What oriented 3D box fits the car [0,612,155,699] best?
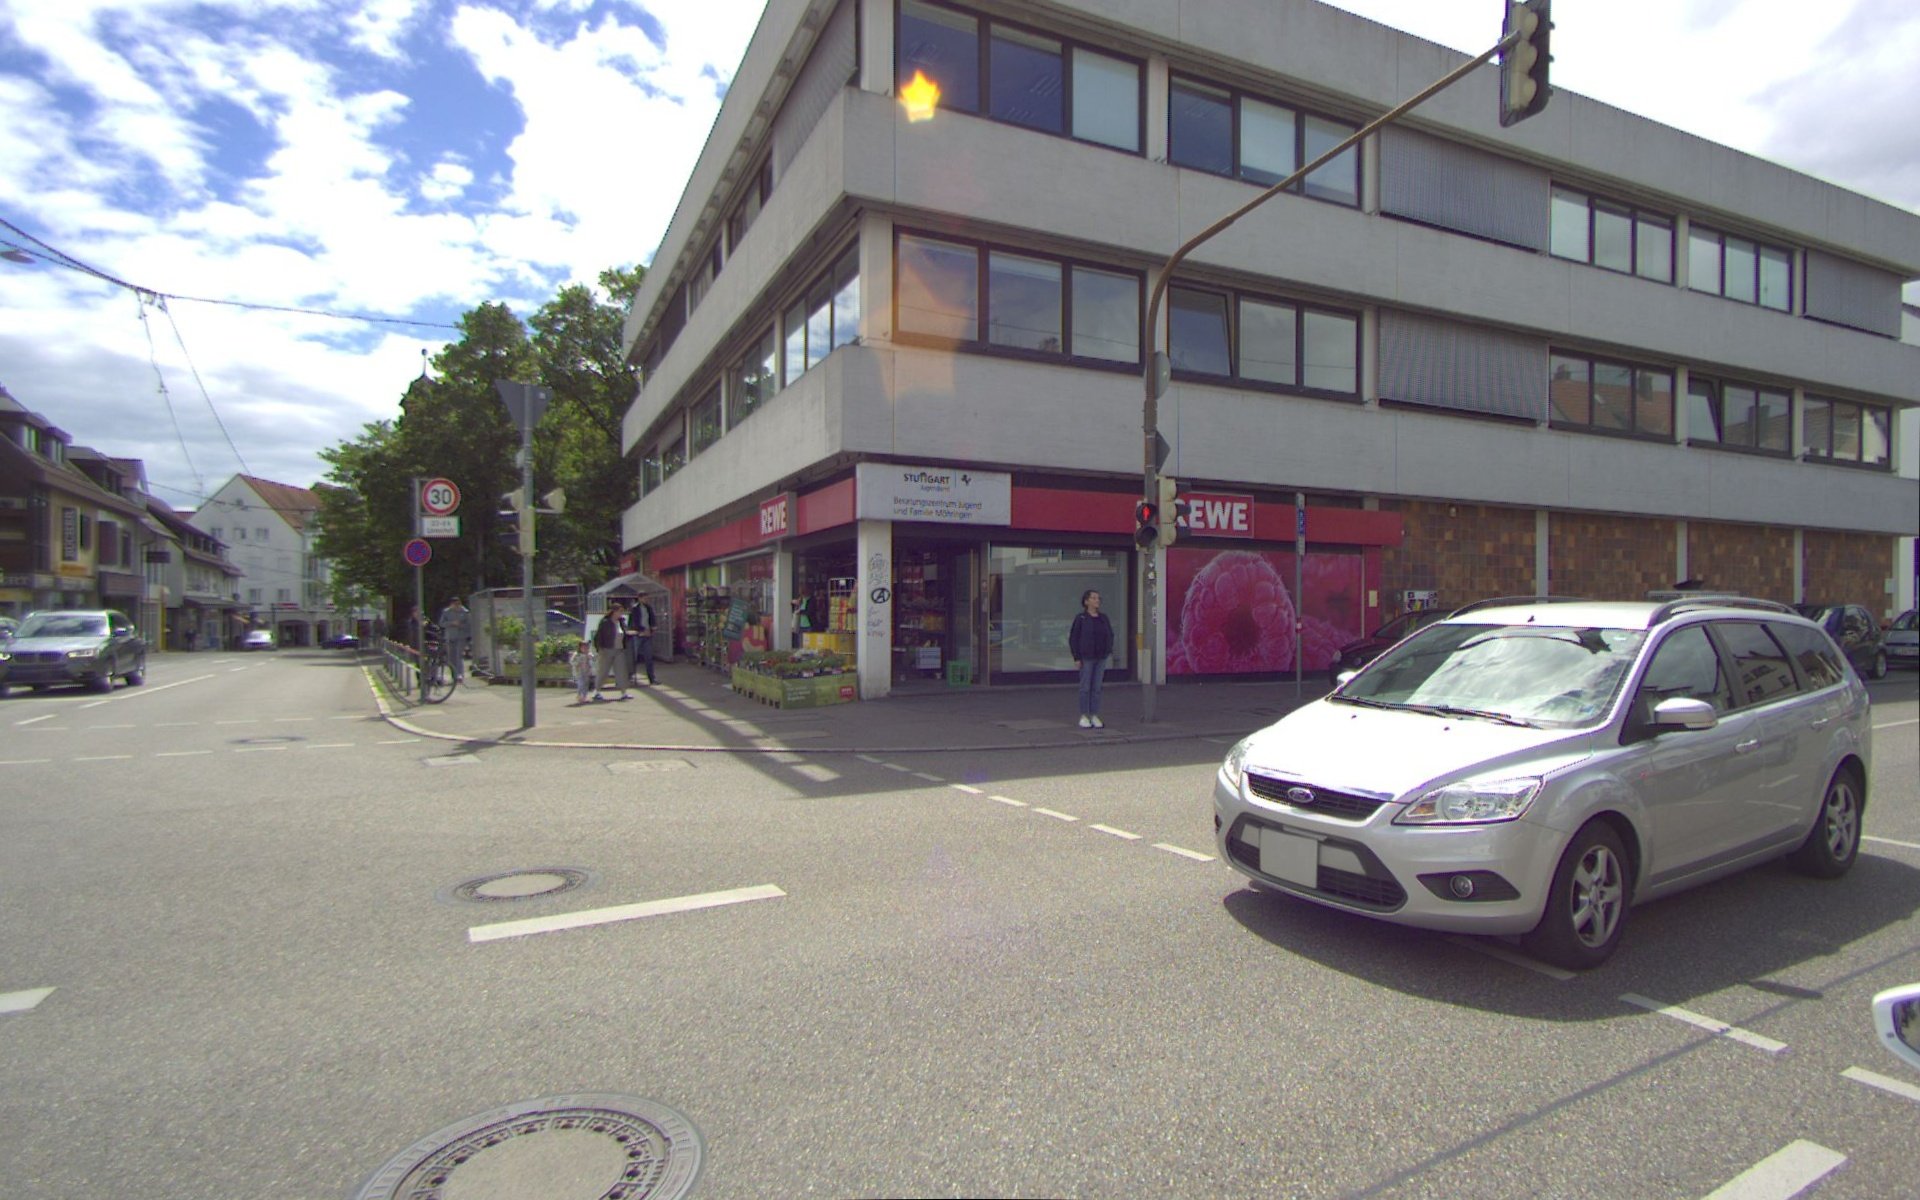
[{"bbox_3d":[-18.141,1.077,20.630,1.898,1.595,3.969,0,-1,-30],"label":"car"}]

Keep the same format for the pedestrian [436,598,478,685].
[{"bbox_3d":[-11.048,0.895,22.061,0.671,1.860,0.727,-1,-1,-38],"label":"pedestrian"}]

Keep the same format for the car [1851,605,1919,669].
[{"bbox_3d":[23.342,0.853,24.075,3.813,1.445,1.748,0,-1,-28],"label":"car"}]

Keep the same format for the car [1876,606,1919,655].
[{"bbox_3d":[29.656,0.889,30.325,3.796,1.416,1.898,0,-1,-30],"label":"car"}]

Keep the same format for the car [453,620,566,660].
[{"bbox_3d":[-16.434,1.446,36.837,3.670,1.339,1.775,-1,-1,-21],"label":"car"}]

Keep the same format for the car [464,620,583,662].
[{"bbox_3d":[-15.070,1.403,34.883,3.670,1.338,1.775,-1,-1,-21],"label":"car"}]

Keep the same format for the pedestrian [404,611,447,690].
[{"bbox_3d":[-11.206,1.045,21.052,0.671,1.598,0.727,-1,-1,-38],"label":"pedestrian"}]

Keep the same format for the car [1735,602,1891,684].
[{"bbox_3d":[17.858,0.841,21.024,2.909,1.564,1.600,0,2,-30],"label":"car"}]

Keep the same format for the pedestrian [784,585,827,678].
[{"bbox_3d":[-2.964,0.599,19.353,0.381,1.762,0.779,1,0,30],"label":"pedestrian"}]

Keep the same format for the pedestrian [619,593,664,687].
[{"bbox_3d":[-6.266,0.777,19.748,0.612,1.800,0.554,1,0,35],"label":"pedestrian"}]

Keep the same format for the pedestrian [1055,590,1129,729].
[{"bbox_3d":[1.626,0.712,12.396,0.652,1.663,0.616,0,-1,-29],"label":"pedestrian"}]

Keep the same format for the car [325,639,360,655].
[{"bbox_3d":[-59.274,4.513,96.486,3.140,1.499,1.485,-2,-1,28],"label":"car"}]

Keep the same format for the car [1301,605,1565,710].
[{"bbox_3d":[7.692,0.854,16.307,4.034,1.484,1.778,0,1,-27],"label":"car"}]

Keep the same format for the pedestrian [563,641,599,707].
[{"bbox_3d":[-6.086,1.182,16.136,0.357,1.018,0.384,1,0,34],"label":"pedestrian"}]

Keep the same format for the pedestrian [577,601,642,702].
[{"bbox_3d":[-5.817,0.843,16.691,0.712,1.618,0.695,1,0,33],"label":"pedestrian"}]

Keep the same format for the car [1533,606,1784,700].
[{"bbox_3d":[12.718,0.885,18.271,4.385,1.463,1.897,0,1,-27],"label":"car"}]

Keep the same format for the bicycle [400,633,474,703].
[{"bbox_3d":[-9.131,1.164,17.495,0.770,1.157,1.866,1,-3,-40],"label":"bicycle"}]

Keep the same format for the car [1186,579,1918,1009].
[{"bbox_3d":[3.354,0.738,5.475,4.166,1.574,1.660,1,0,-31],"label":"car"}]

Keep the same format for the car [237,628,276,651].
[{"bbox_3d":[-51.784,2.862,74.002,1.898,1.595,4.296,0,-1,-30],"label":"car"}]

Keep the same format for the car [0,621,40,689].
[{"bbox_3d":[-23.528,1.301,23.578,1.898,1.595,4.296,0,-1,-30],"label":"car"}]
